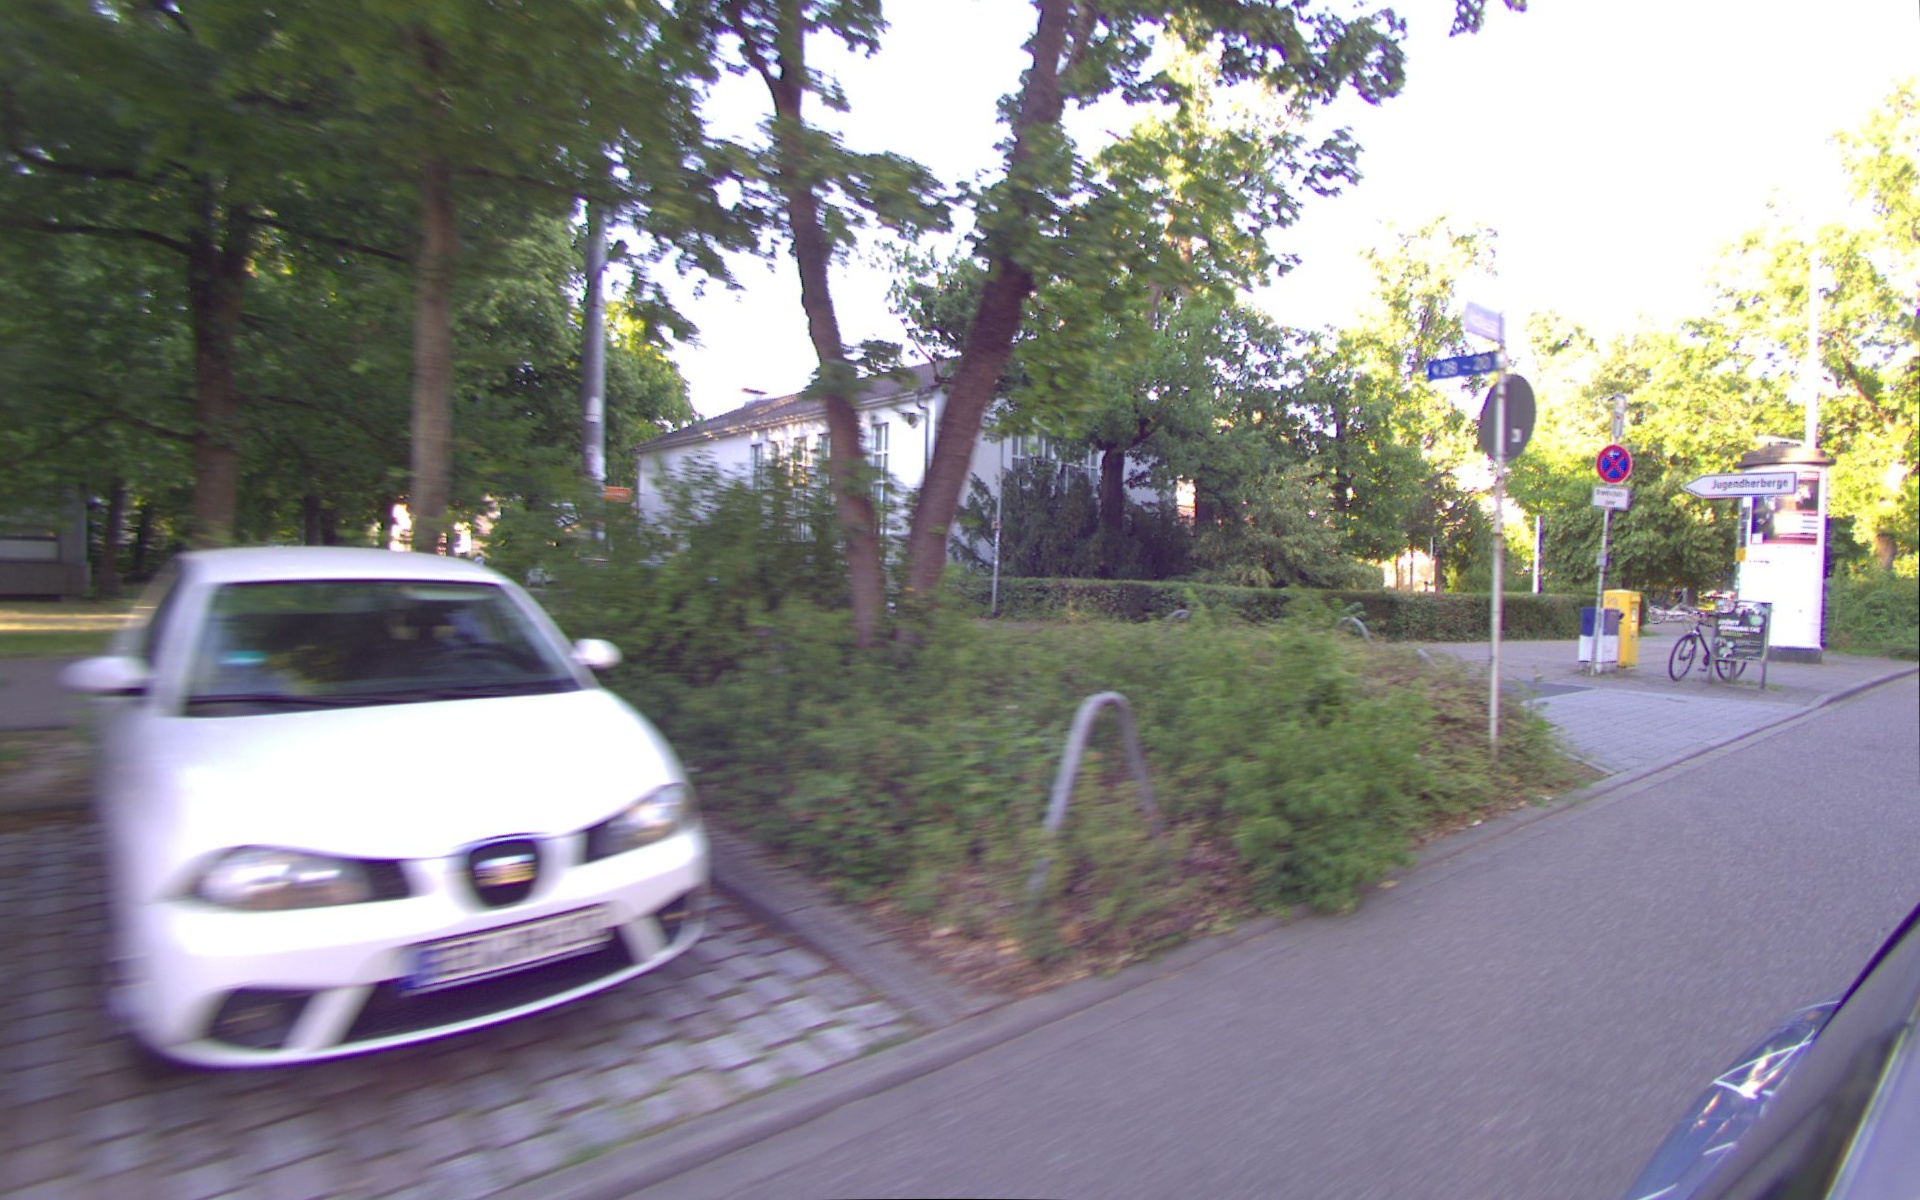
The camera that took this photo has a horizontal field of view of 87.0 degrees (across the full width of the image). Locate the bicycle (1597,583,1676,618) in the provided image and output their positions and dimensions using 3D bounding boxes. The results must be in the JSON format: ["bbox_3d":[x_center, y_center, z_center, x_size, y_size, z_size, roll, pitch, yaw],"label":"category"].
[{"bbox_3d":[25.499,0.010,38.214,2.433,1.236,0.743,2,2,33],"label":"bicycle"}]

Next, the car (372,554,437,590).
[{"bbox_3d":[-24.030,-1.221,43.715,1.706,1.495,3.995,0,2,-41],"label":"car"}]

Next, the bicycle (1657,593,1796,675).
[{"bbox_3d":[11.650,0.526,15.372,2.237,1.162,0.495,2,4,-21],"label":"bicycle"}]

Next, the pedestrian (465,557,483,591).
[{"bbox_3d":[-26.878,-1.423,55.965,0.709,1.860,0.739,0,2,-43],"label":"pedestrian"}]

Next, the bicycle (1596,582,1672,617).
[{"bbox_3d":[26.440,-0.036,39.730,2.433,1.314,0.743,2,2,33],"label":"bicycle"}]

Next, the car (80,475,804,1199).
[{"bbox_3d":[-2.585,0.377,4.278,1.697,1.572,4.372,0,4,-41],"label":"car"}]

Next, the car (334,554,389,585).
[{"bbox_3d":[-29.881,-1.524,50.491,1.706,1.495,3.995,0,2,-41],"label":"car"}]
